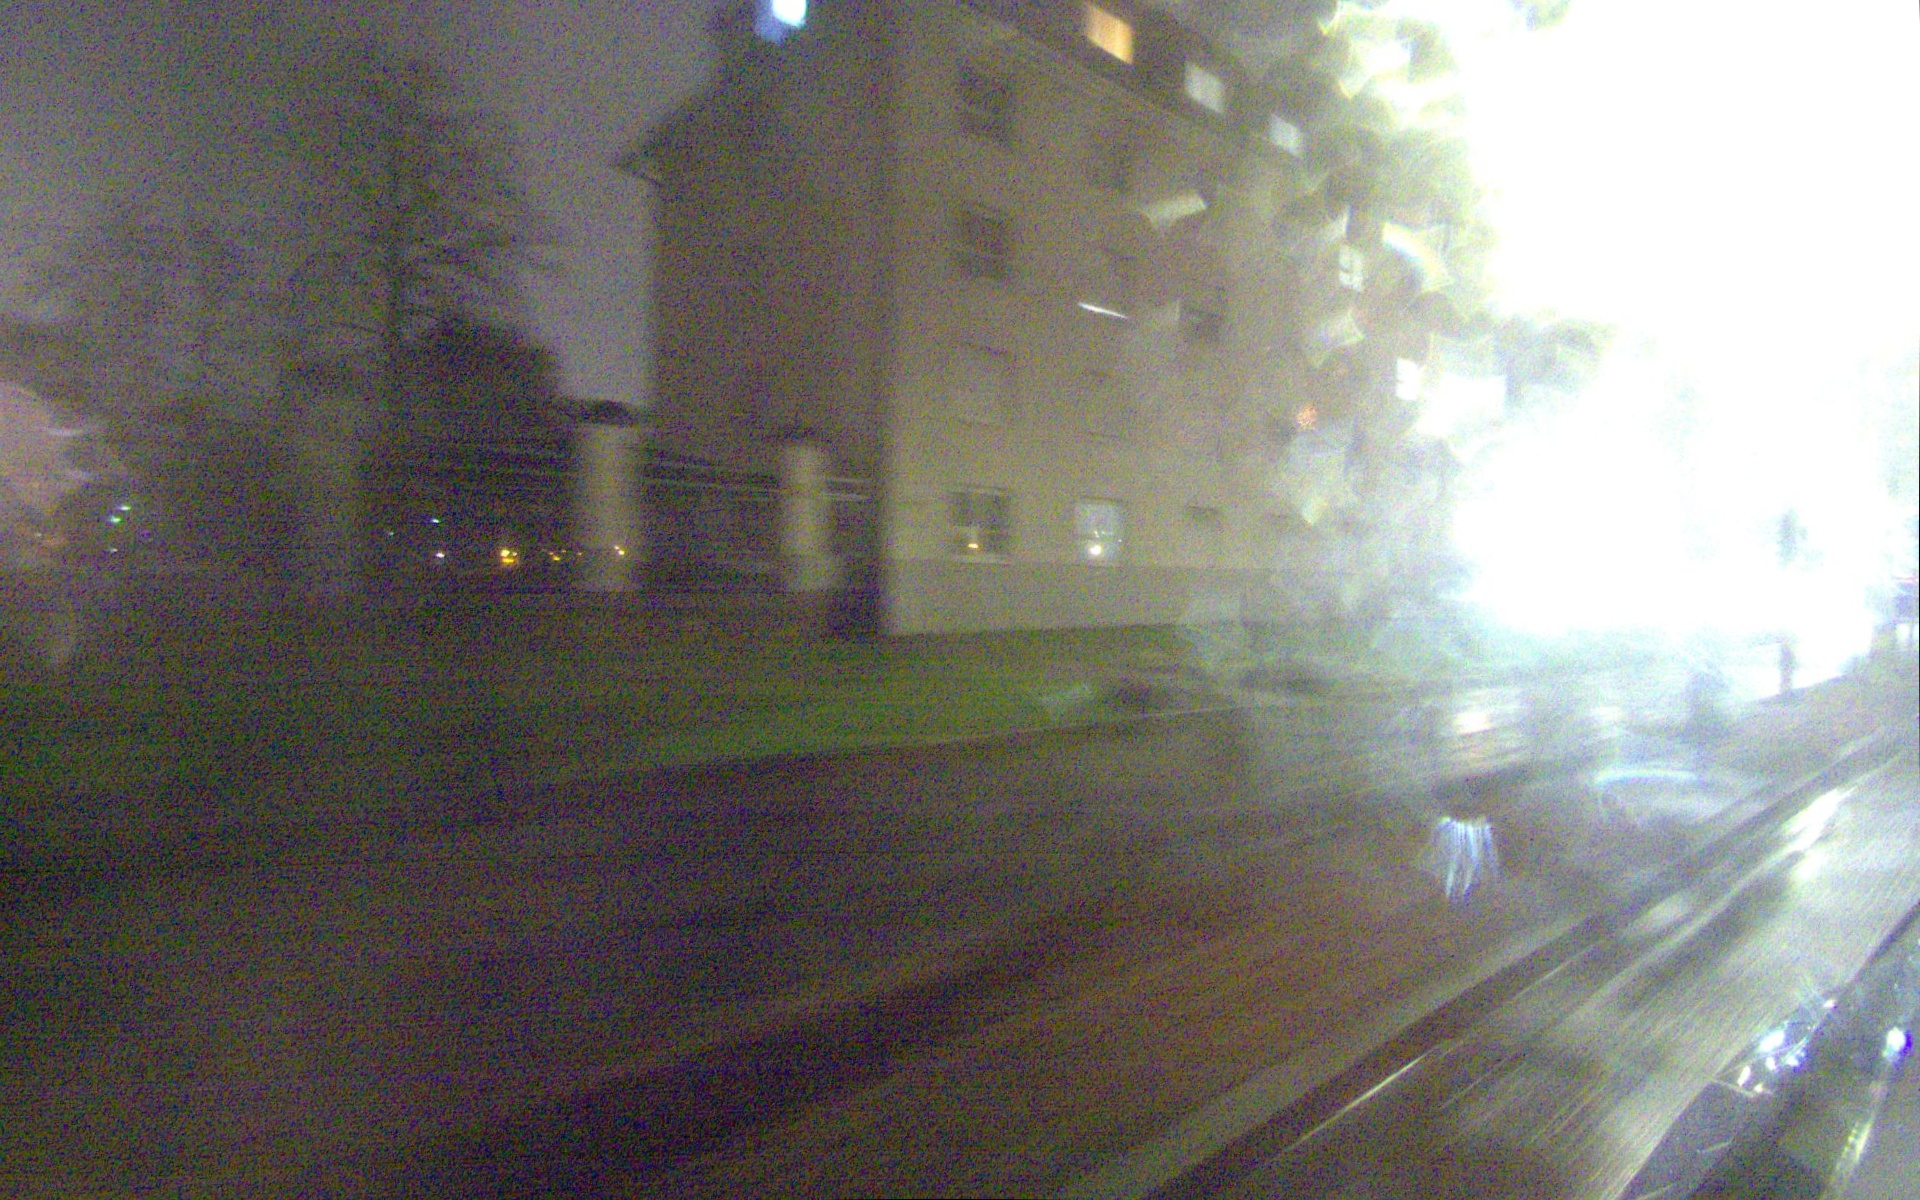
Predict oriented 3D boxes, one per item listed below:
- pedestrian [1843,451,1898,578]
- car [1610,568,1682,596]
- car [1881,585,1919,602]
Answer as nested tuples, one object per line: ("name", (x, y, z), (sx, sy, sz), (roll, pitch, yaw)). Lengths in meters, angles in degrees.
("pedestrian", (15.602, -1.449, 17.339), (0.729, 2.039, 0.550), (8, -4, -41))
("car", (46.381, -1.235, 68.548), (1.961, 1.807, 4.004), (1, 2, -2))
("car", (89.869, -0.594, 95.288), (4.138, 1.484, 1.985), (1, 1, 23))
